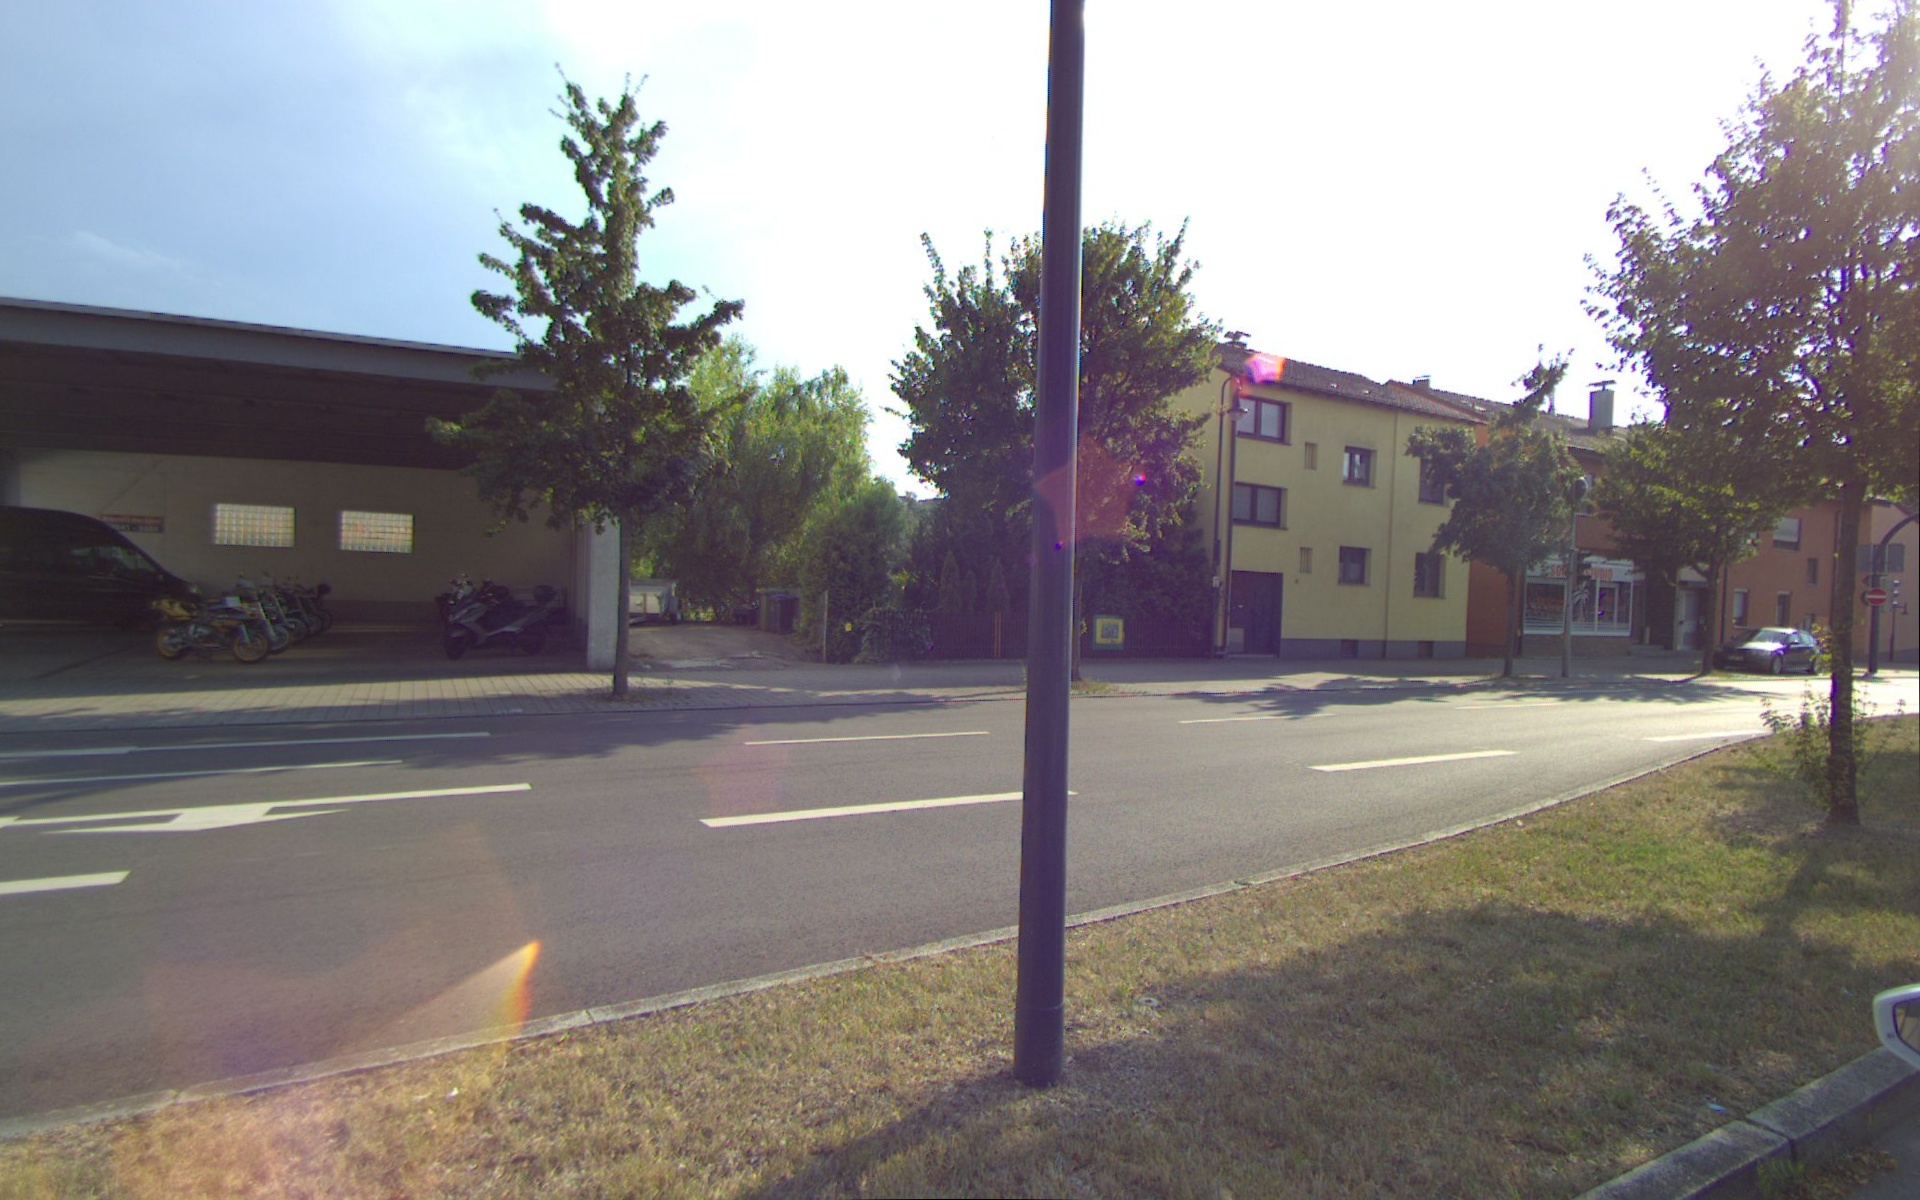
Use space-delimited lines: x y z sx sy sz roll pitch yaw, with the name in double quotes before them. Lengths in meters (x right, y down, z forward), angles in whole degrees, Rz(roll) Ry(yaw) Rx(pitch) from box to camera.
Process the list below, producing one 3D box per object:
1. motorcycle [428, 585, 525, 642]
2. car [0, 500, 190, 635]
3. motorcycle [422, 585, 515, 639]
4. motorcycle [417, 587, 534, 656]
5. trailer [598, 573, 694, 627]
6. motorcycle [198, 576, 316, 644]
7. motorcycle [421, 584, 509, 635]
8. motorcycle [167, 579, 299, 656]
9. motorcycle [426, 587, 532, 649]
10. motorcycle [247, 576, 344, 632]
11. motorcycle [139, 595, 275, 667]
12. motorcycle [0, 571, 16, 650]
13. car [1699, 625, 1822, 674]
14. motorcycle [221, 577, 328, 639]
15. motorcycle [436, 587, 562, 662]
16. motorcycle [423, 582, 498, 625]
"motorcycle" -11.776 0.308 24.532 0.621 1.314 2.113 1 2 36
"car" -20.461 -0.685 22.086 1.962 2.789 5.280 1 0 26
"motorcycle" -12.658 0.288 25.915 0.621 1.314 2.113 1 2 36
"motorcycle" -9.821 0.398 20.454 0.621 1.314 2.113 1 2 36
"trailer" -8.226 -0.011 26.612 1.698 1.280 3.995 1 0 -7
"motorcycle" -14.762 0.201 21.099 2.219 1.354 0.631 1 0 10
"motorcycle" -13.522 0.236 27.513 0.621 1.314 2.113 1 2 36
"motorcycle" -13.641 0.316 18.857 2.219 1.354 0.631 1 0 10
"motorcycle" -10.751 0.380 22.532 0.621 1.314 2.113 1 2 36
"motorcycle" -16.918 0.098 25.568 2.219 1.354 0.631 1 0 10
"motorcycle" -12.505 0.501 16.692 1.993 1.101 0.631 1 0 12
"motorcycle" -17.296 0.166 16.719 0.619 1.380 2.225 1 0 24
"car" 25.960 1.592 32.550 3.953 1.319 1.728 1 4 -30
"motorcycle" -15.893 0.178 23.309 2.219 1.354 0.631 1 0 10
"motorcycle" -8.628 0.427 18.892 0.621 1.314 2.113 1 2 36
"motorcycle" -15.968 0.096 32.172 0.621 1.314 2.113 1 2 36
